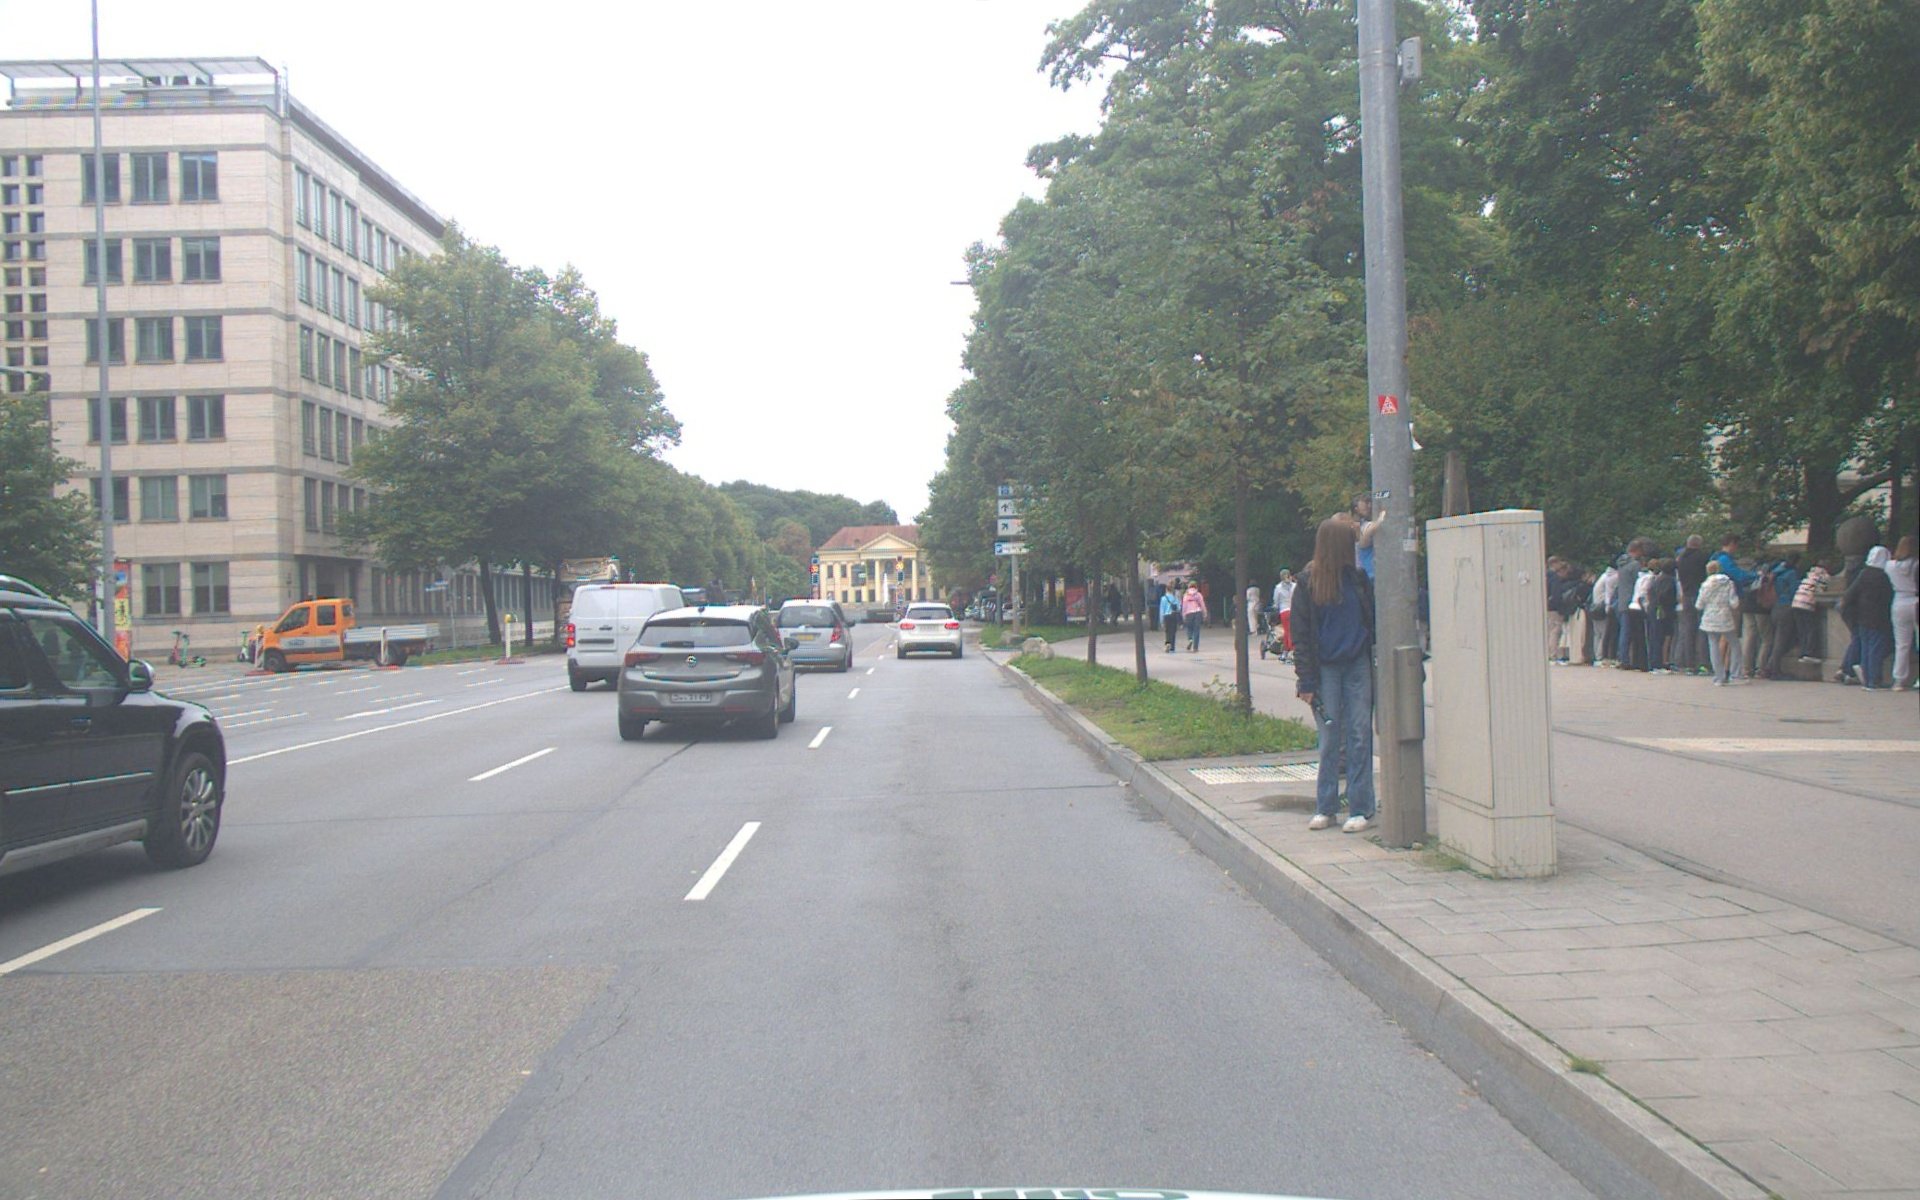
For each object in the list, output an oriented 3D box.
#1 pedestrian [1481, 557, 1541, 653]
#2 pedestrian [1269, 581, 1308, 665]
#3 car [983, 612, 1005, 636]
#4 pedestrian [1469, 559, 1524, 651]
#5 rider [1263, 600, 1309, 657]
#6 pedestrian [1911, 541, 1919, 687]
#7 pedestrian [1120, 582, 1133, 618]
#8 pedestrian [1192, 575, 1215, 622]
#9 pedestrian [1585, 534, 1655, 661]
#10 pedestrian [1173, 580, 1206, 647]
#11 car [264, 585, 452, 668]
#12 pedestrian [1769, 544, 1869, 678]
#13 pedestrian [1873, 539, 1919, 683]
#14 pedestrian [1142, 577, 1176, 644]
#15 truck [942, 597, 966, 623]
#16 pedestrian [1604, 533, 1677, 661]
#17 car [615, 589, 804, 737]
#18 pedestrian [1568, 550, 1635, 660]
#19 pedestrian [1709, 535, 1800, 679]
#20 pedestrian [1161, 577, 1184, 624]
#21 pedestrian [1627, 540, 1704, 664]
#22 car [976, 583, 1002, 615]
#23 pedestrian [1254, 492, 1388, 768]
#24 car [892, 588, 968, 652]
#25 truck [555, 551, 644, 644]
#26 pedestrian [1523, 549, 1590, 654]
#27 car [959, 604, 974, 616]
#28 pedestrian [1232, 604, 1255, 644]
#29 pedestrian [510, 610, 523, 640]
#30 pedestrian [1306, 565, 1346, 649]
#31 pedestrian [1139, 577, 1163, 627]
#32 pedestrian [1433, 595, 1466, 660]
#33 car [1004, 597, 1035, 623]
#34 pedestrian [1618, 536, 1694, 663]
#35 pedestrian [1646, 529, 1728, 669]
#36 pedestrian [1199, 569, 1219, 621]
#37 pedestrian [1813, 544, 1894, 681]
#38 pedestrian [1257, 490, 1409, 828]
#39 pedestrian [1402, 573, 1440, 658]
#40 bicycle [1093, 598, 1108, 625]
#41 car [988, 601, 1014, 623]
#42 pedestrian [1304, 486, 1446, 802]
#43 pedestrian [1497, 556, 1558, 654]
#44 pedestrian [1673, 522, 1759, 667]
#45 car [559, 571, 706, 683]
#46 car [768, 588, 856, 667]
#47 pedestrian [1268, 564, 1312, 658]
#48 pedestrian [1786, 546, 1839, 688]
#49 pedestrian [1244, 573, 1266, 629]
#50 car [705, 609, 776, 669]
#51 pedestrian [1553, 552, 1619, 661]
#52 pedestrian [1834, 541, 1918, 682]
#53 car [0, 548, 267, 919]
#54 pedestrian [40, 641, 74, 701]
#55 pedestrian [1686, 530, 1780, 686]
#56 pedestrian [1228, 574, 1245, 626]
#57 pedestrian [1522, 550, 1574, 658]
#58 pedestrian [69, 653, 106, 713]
[{"bbox_3d":[10.152,0.088,30.510,0.795,1.720,0.729,-3,0,1],"label":"pedestrian"},{"bbox_3d":[6.824,0.476,34.408,0.711,1.720,0.648,0,0,4],"label":"pedestrian"},{"bbox_3d":[2.841,1.987,137.721,1.689,1.900,4.027,-2,0,0],"label":"car"},{"bbox_3d":[10.210,0.101,31.496,0.795,1.720,0.729,0,0,1],"label":"pedestrian"},{"bbox_3d":[6.583,0.560,33.460,0.749,1.131,1.245,0,0,4],"label":"rider"},{"bbox_3d":[10.311,0.146,17.350,0.412,1.534,0.442,0,0,1],"label":"pedestrian"},{"bbox_3d":[8.492,0.006,84.309,0.617,1.805,0.782,0,0,2],"label":"pedestrian"},{"bbox_3d":[8.754,-0.040,59.499,0.738,1.672,0.691,-1,0,14],"label":"pedestrian"},{"bbox_3d":[10.237,-0.039,25.683,0.795,1.950,0.729,0,0,1],"label":"pedestrian"},{"bbox_3d":[5.792,0.344,41.698,0.738,1.672,0.850,-1,0,14],"label":"pedestrian"},{"bbox_3d":[-20.411,0.871,56.307,5.570,2.581,2.154,-2,0,-5],"label":"car"},{"bbox_3d":[10.105,0.126,19.474,0.795,1.534,0.729,0,0,1],"label":"pedestrian"},{"bbox_3d":[10.148,0.114,17.790,0.412,1.534,0.442,0,0,1],"label":"pedestrian"},{"bbox_3d":[5.034,0.275,41.807,0.738,1.672,0.850,-1,0,14],"label":"pedestrian"},{"bbox_3d":[-0.856,1.365,228.942,3.258,3.426,8.660,0,0,-1],"label":"truck"},{"bbox_3d":[10.242,-0.044,24.915,0.795,1.907,0.729,0,0,1],"label":"pedestrian"},{"bbox_3d":[-2.877,0.681,19.752,1.675,1.579,3.999,0,0,-1],"label":"car"},{"bbox_3d":[10.247,0.078,26.435,0.795,1.720,0.729,0,0,1],"label":"pedestrian"},{"bbox_3d":[10.137,0.092,21.124,0.795,1.799,0.729,0,0,1],"label":"pedestrian"},{"bbox_3d":[7.610,0.030,59.134,0.738,1.672,0.651,-1,0,14],"label":"pedestrian"},{"bbox_3d":[9.989,0.025,23.435,0.795,1.720,0.674,0,0,1],"label":"pedestrian"},{"bbox_3d":[2.544,-0.076,144.398,1.953,2.689,4.875,0,0,-3],"label":"car"},{"bbox_3d":[2.600,0.210,11.922,0.789,1.914,0.542,-1,0,35],"label":"pedestrian"},{"bbox_3d":[-0.863,0.523,45.296,1.745,1.673,3.995,0,0,-6],"label":"car"},{"bbox_3d":[-15.653,-0.109,72.325,2.859,3.841,7.657,0,0,-5],"label":"truck"},{"bbox_3d":[10.079,0.027,27.960,0.795,1.720,0.729,-3,0,1],"label":"pedestrian"},{"bbox_3d":[0.766,1.147,191.232,1.689,1.347,4.027,-2,0,0],"label":"car"},{"bbox_3d":[8.383,0.703,48.832,0.618,1.156,0.573,0,0,14],"label":"pedestrian"},{"bbox_3d":[-26.145,1.478,97.556,0.567,1.762,0.764,0,0,-1],"label":"pedestrian"},{"bbox_3d":[7.595,0.143,34.358,0.711,1.720,0.648,0,0,4],"label":"pedestrian"},{"bbox_3d":[6.741,0.063,58.426,0.738,1.767,0.850,-1,0,14],"label":"pedestrian"},{"bbox_3d":[8.984,0.505,30.368,0.448,1.173,0.648,0,0,4],"label":"pedestrian"},{"bbox_3d":[3.801,0.636,106.317,1.790,1.577,4.751,-2,0,0],"label":"car"},{"bbox_3d":[10.163,-0.002,24.173,0.795,1.821,0.729,0,0,1],"label":"pedestrian"},{"bbox_3d":[9.969,-0.015,22.710,0.795,1.884,0.729,0,0,1],"label":"pedestrian"},{"bbox_3d":[8.963,-0.177,59.481,0.576,1.854,0.850,0,0,0],"label":"pedestrian"},{"bbox_3d":[10.169,0.137,18.841,0.623,1.534,0.533,0,0,1],"label":"pedestrian"},{"bbox_3d":[2.098,0.319,9.360,0.693,1.840,0.638,0,0,-2],"label":"pedestrian"},{"bbox_3d":[8.504,0.278,30.529,0.538,1.554,0.648,0,0,4],"label":"pedestrian"},{"bbox_3d":[5.483,0.431,64.646,0.376,1.039,2.078,0,0,-1],"label":"bicycle"},{"bbox_3d":[2.952,0.840,118.885,1.689,1.490,4.775,-2,0,0],"label":"car"},{"bbox_3d":[2.538,0.257,10.089,0.626,1.840,0.708,-1,0,35],"label":"pedestrian"},{"bbox_3d":[10.190,0.084,29.720,0.795,1.720,0.729,-2,0,1],"label":"pedestrian"},{"bbox_3d":[10.007,-0.067,21.921,0.795,1.884,0.729,0,0,1],"label":"pedestrian"},{"bbox_3d":[-6.039,0.478,31.076,1.860,1.880,4.954,-2,0,-2],"label":"car"},{"bbox_3d":[-3.318,0.591,37.600,1.743,1.683,3.999,0,0,-2],"label":"car"},{"bbox_3d":[6.127,0.196,30.719,0.711,1.720,0.648,0,0,4],"label":"pedestrian"},{"bbox_3d":[10.539,0.209,20.455,0.412,1.733,0.442,0,0,0],"label":"pedestrian"},{"bbox_3d":[8.995,0.044,50.398,0.618,1.696,0.573,-1,0,14],"label":"pedestrian"},{"bbox_3d":[-6.424,1.113,48.748,1.743,1.683,3.998,0,0,-3],"label":"car"},{"bbox_3d":[10.274,0.107,27.163,0.795,1.769,0.729,0,0,1],"label":"pedestrian"},{"bbox_3d":[10.126,0.124,18.292,0.623,1.534,0.533,0,0,1],"label":"pedestrian"},{"bbox_3d":[-5.188,0.631,8.323,1.688,1.665,4.203,-2,0,-2],"label":"car"},{"bbox_3d":[-27.647,2.178,50.645,0.668,1.806,0.675,0,0,3],"label":"pedestrian"},{"bbox_3d":[9.443,0.097,20.231,0.795,1.861,0.729,0,0,1],"label":"pedestrian"},{"bbox_3d":[8.476,0.006,50.713,0.474,1.593,0.573,-1,0,14],"label":"pedestrian"},{"bbox_3d":[9.542,0.067,26.848,0.579,1.720,0.729,0,0,1],"label":"pedestrian"},{"bbox_3d":[-26.792,2.549,50.793,0.668,1.806,0.784,0,0,3],"label":"pedestrian"}]
